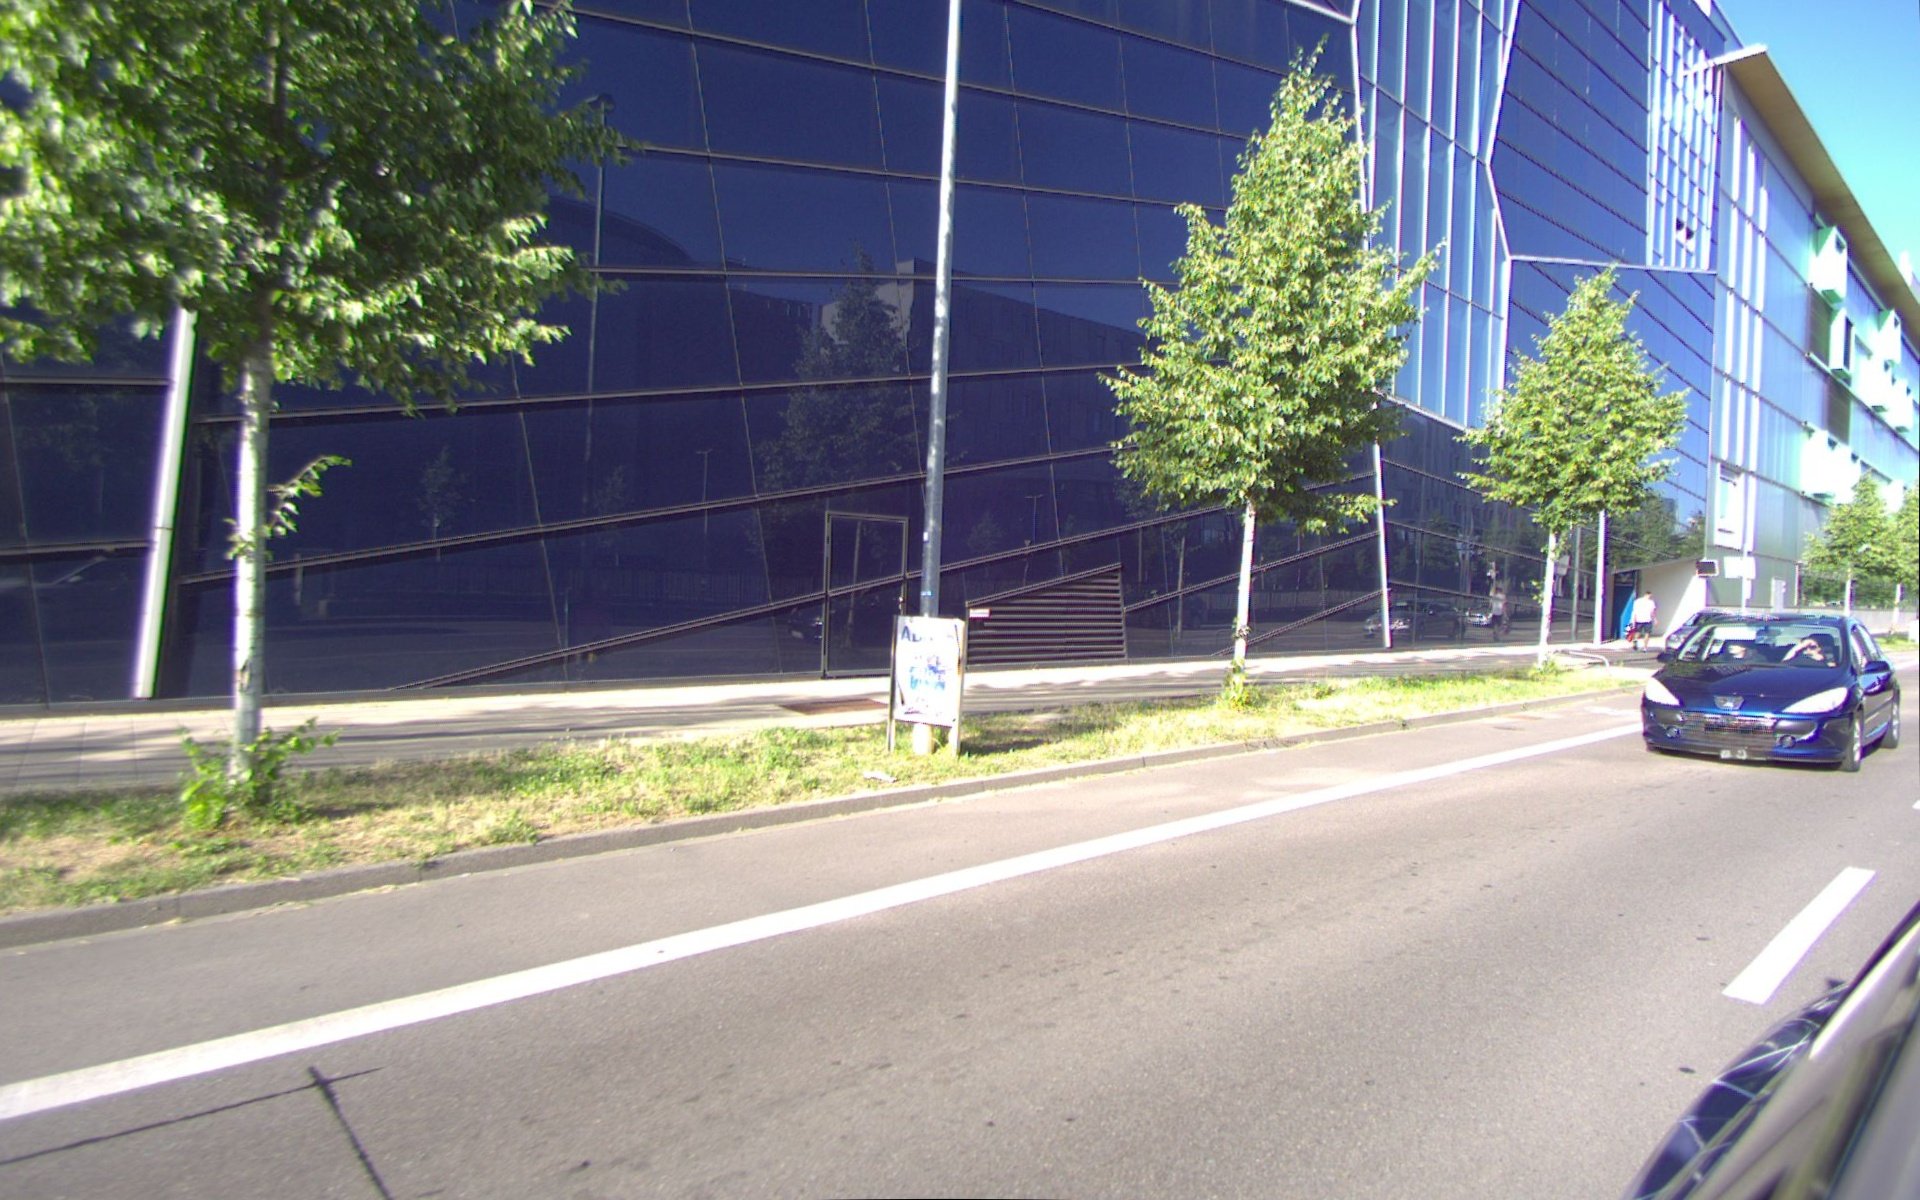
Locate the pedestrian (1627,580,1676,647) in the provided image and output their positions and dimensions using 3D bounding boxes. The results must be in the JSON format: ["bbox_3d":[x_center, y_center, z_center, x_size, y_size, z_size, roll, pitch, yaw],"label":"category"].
[{"bbox_3d":[20.145,0.382,29.476,0.889,1.846,0.829,1,4,-41],"label":"pedestrian"}]

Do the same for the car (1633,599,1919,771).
[{"bbox_3d":[8.864,0.764,10.877,3.902,1.497,1.752,1,0,-41],"label":"car"}]

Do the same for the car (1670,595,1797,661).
[{"bbox_3d":[20.750,0.706,27.070,4.633,1.516,1.739,1,3,-41],"label":"car"}]
